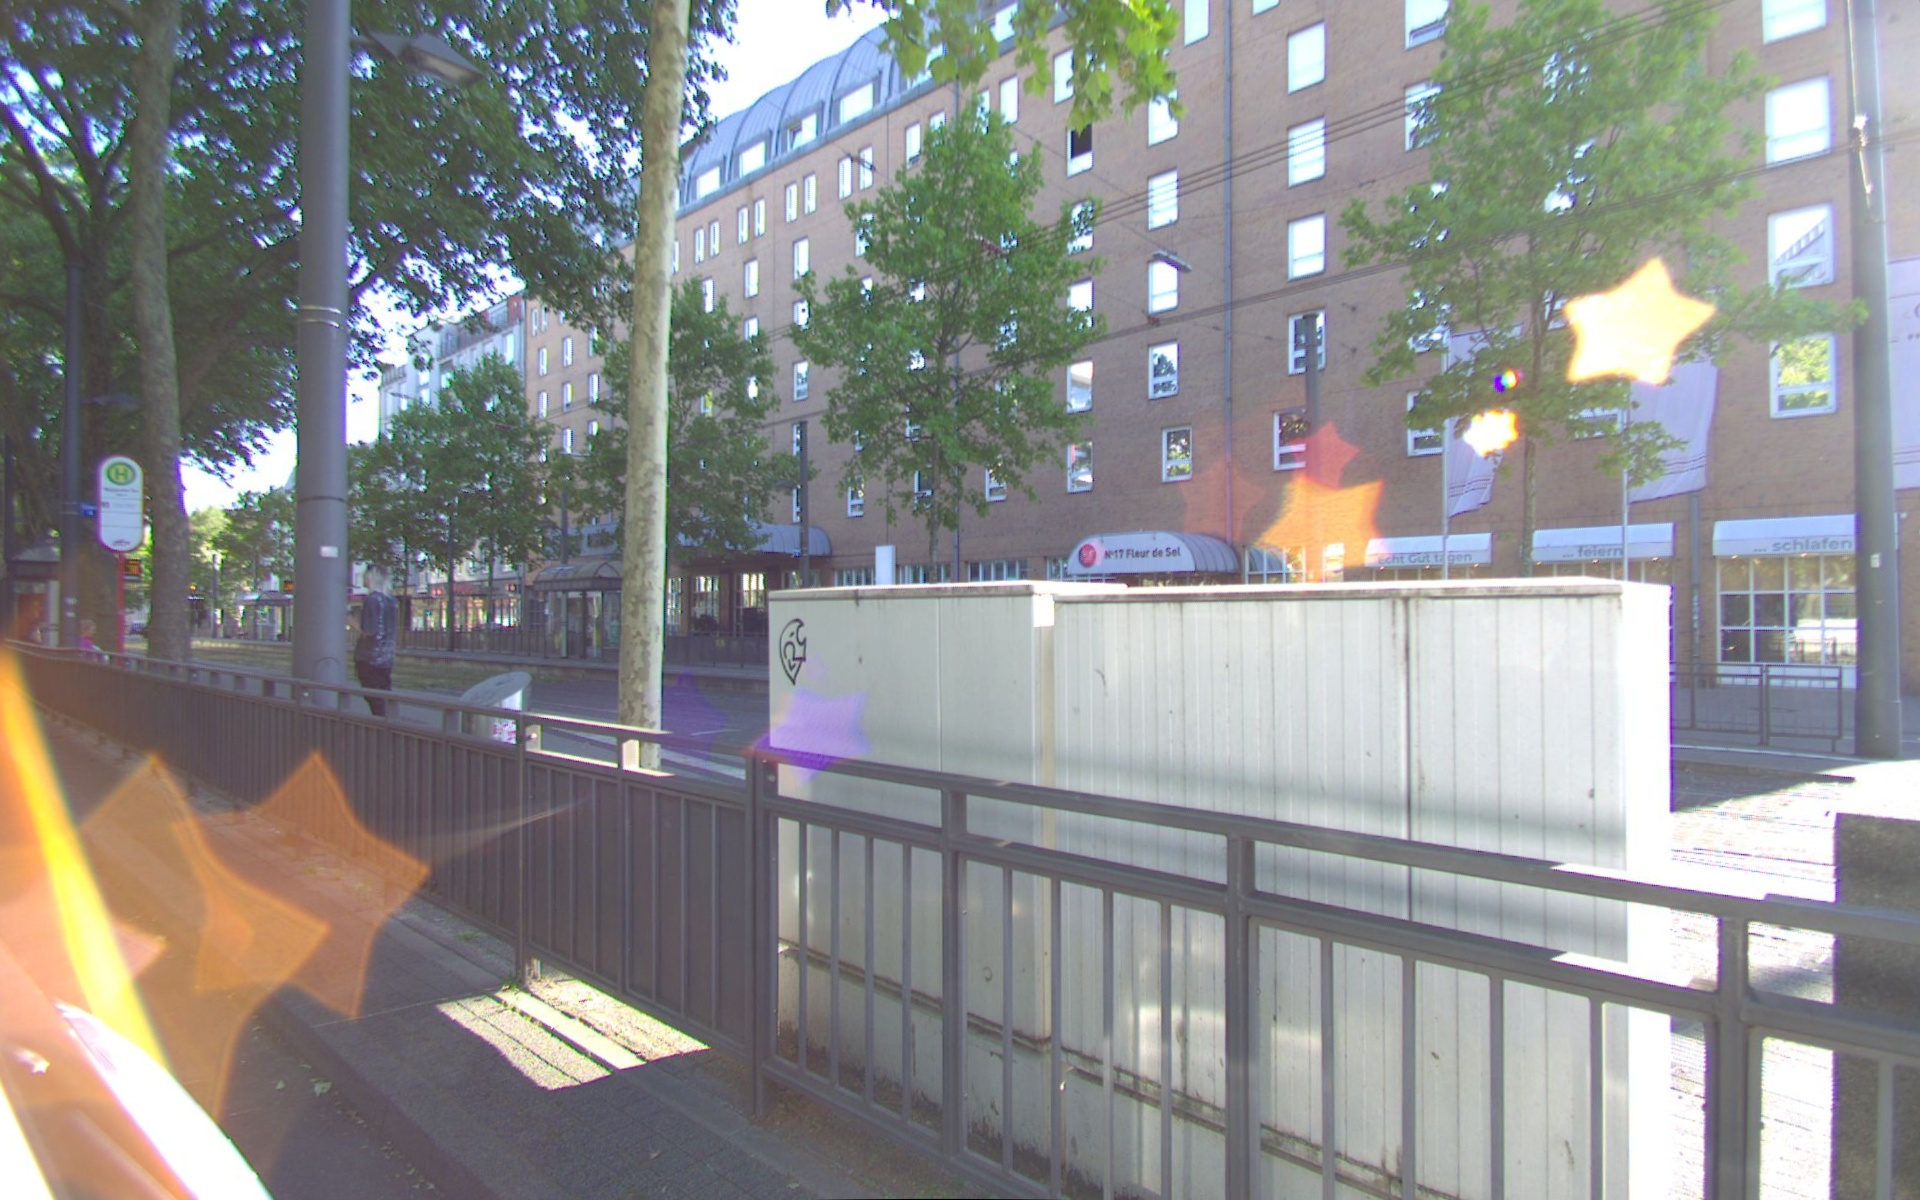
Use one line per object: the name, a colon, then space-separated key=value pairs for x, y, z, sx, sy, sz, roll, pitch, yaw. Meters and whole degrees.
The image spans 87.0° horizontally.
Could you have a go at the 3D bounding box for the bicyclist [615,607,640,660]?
bicyclist: x=-12.255 y=1.218 z=37.271 sx=0.564 sy=1.918 sz=0.814 roll=2 pitch=-2 yaw=-43

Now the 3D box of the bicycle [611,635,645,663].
bicycle: x=-12.256 y=1.806 z=37.340 sx=0.444 sy=1.012 sz=1.754 roll=2 pitch=-2 yaw=-44

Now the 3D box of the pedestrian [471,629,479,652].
pedestrian: x=-31.395 y=2.628 z=65.570 sx=0.431 sy=1.518 sz=0.660 roll=1 pitch=-2 yaw=-27

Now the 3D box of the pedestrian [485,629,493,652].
pedestrian: x=-30.703 y=2.628 z=65.983 sx=0.431 sy=1.532 sz=0.660 roll=1 pitch=-2 yaw=-27

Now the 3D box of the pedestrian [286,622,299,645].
pedestrian: x=-59.479 y=3.016 z=90.163 sx=0.763 sy=2.029 sz=0.796 roll=-2 pitch=-2 yaw=41

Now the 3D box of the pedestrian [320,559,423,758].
pedestrian: x=-5.824 y=0.552 z=10.035 sx=0.618 sy=1.897 sz=0.603 roll=1 pitch=0 yaw=18

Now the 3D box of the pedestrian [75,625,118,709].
pedestrian: x=-13.952 y=1.065 z=16.353 sx=0.493 sy=1.325 sz=0.419 roll=1 pitch=-2 yaw=-41
